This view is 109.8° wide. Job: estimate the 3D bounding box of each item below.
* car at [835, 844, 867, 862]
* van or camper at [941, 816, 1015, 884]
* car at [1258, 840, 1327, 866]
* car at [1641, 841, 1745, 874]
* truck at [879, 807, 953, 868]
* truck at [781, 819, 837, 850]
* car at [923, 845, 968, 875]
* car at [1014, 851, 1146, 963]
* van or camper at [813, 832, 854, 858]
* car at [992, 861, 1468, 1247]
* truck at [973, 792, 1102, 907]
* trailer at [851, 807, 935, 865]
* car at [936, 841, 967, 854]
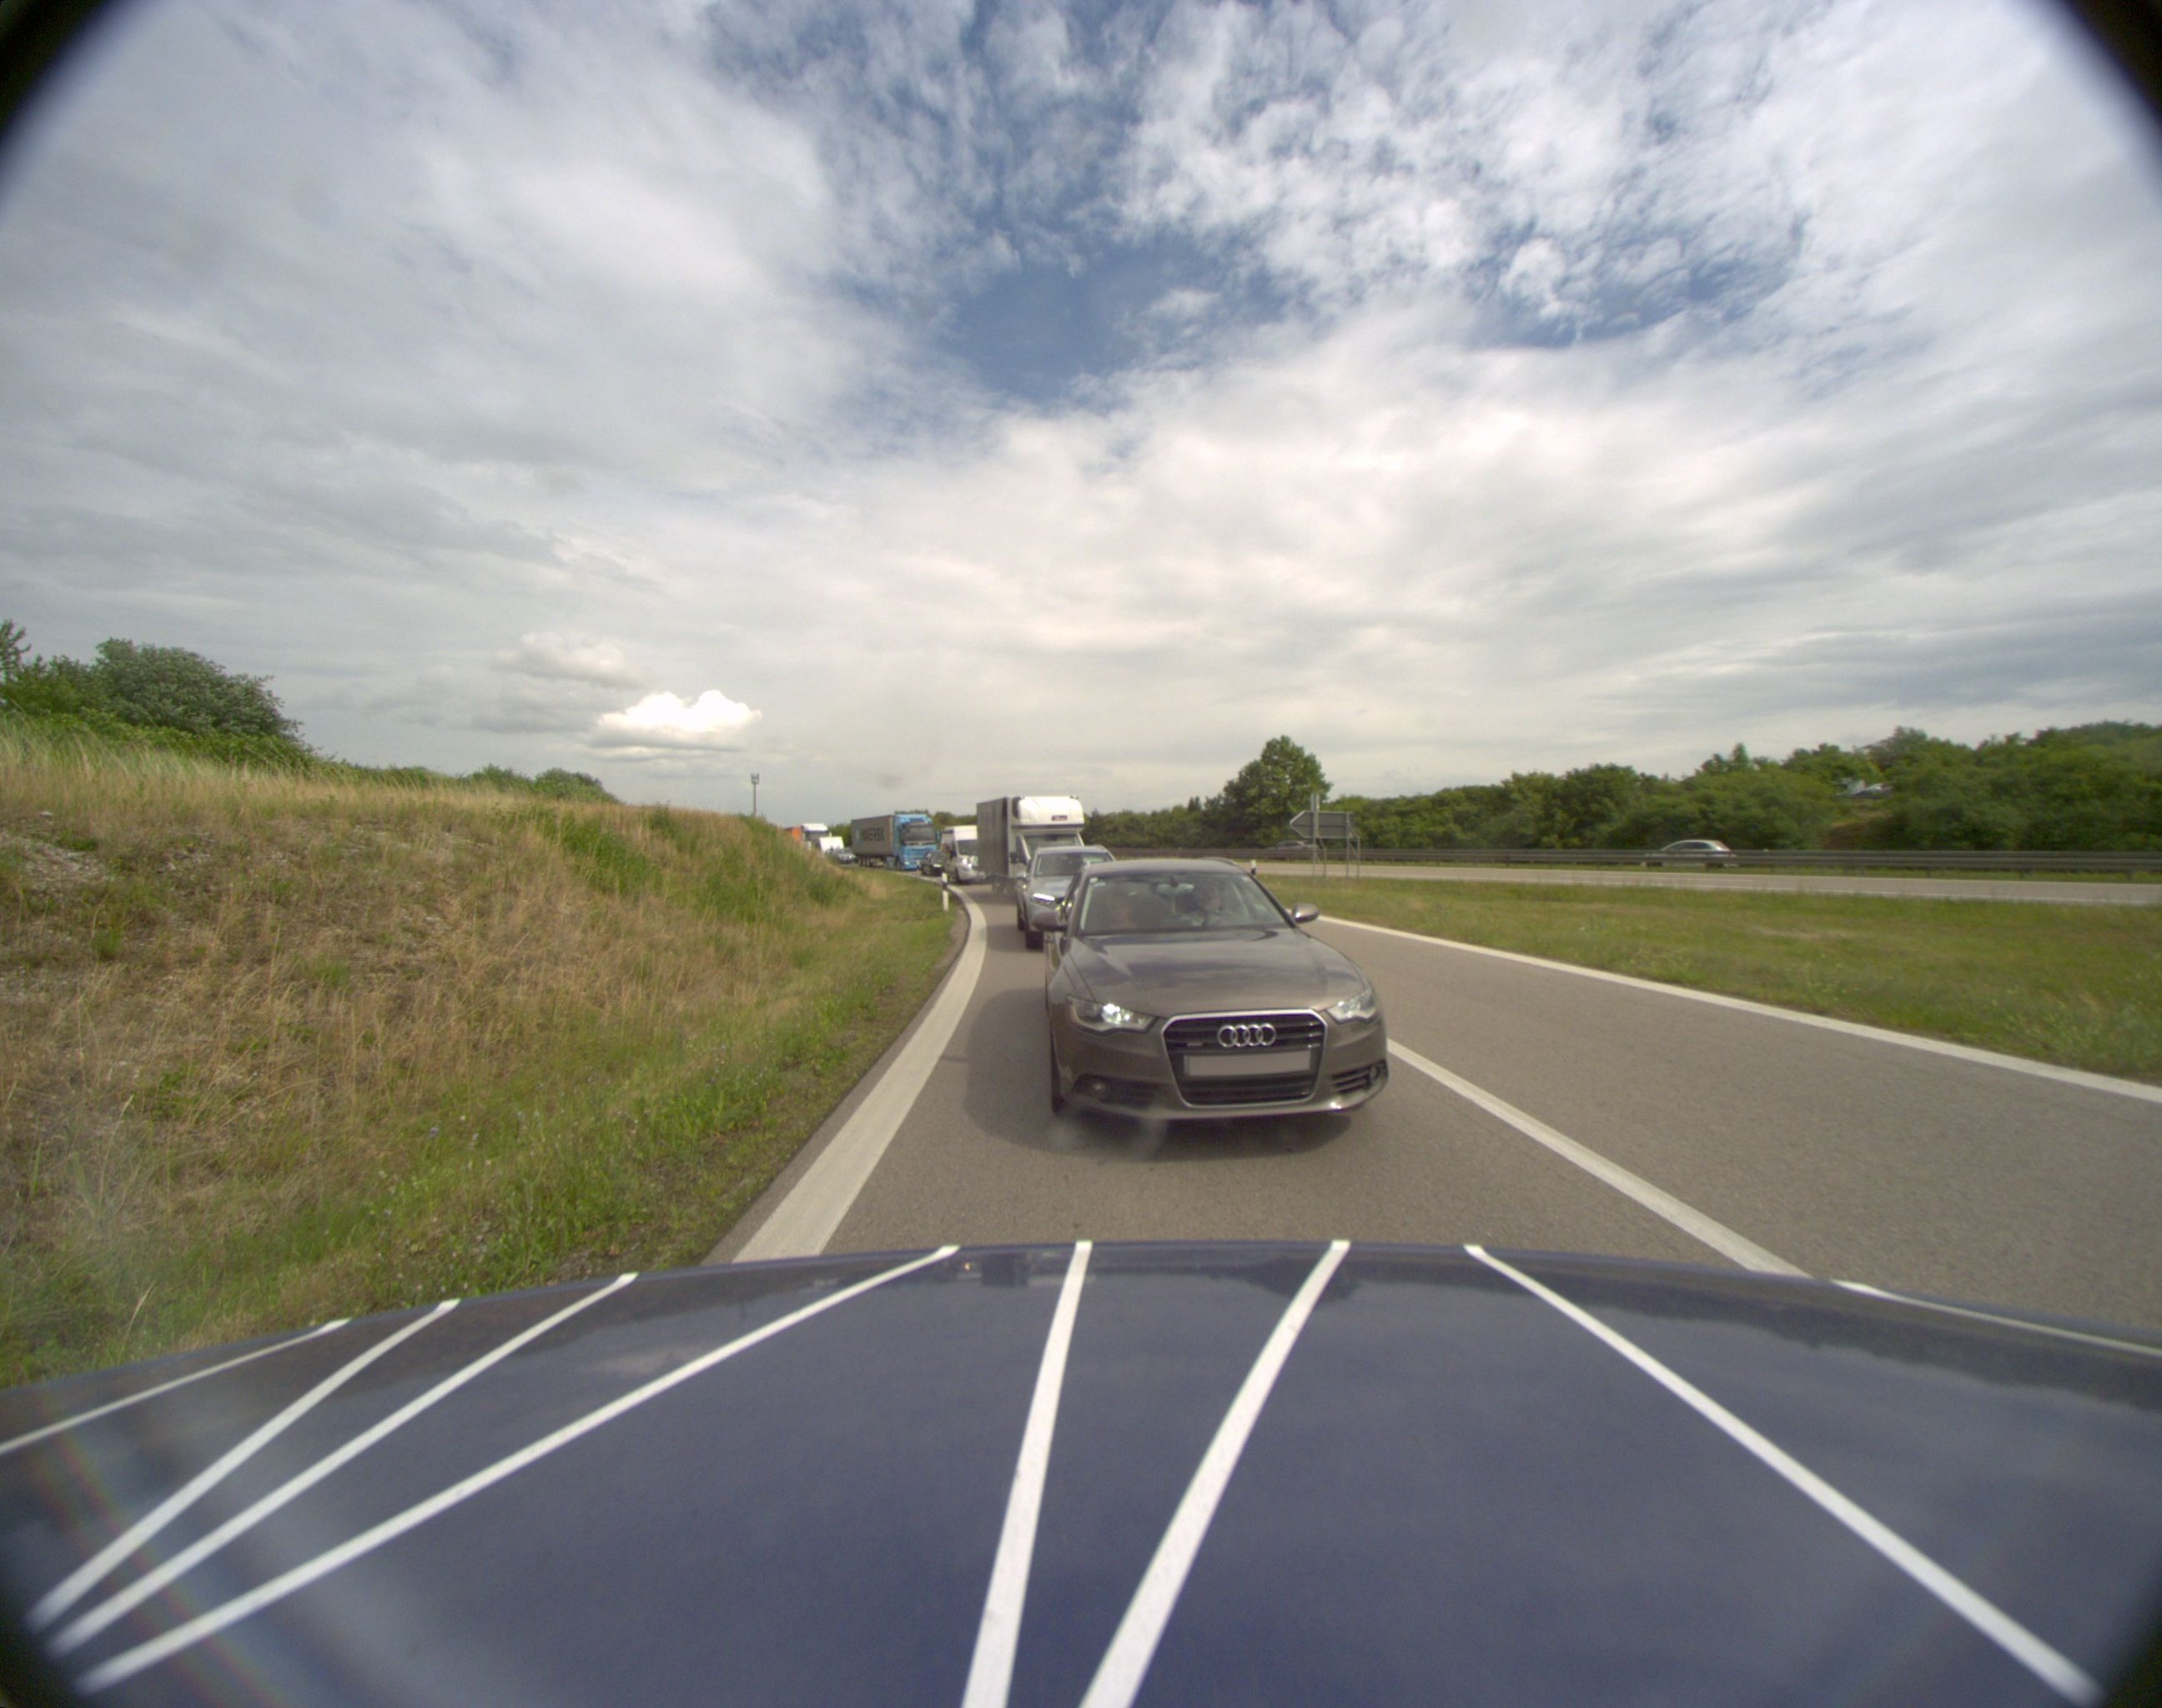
[{"bbox_3d":[-21.217,-0.131,70.027,2.003,1.521,3.990,-2,2,-29],"label":"car"},{"bbox_3d":[-4.961,-0.177,35.736,2.401,2.892,5.711,-3,1,-18],"label":"van or camper"},{"bbox_3d":[15.404,-0.101,55.606,1.719,1.783,4.966,-1,2,-33],"label":"car"},{"bbox_3d":[28.857,0.122,35.903,1.543,1.500,3.513,-2,2,-35],"label":"car"},{"bbox_3d":[-11.941,-1.149,54.537,3.184,4.049,6.631,-3,1,-29],"label":"truck"},{"bbox_3d":[-30.566,-2.068,84.935,3.131,3.220,11.131,-2,1,-34],"label":"truck"},{"bbox_3d":[-8.023,0.313,44.738,2.002,1.609,3.992,-1,1,-19],"label":"car"},{"bbox_3d":[-0.189,0.774,13.372,1.843,1.587,4.170,-1,1,-7],"label":"car"},{"bbox_3d":[-24.527,-0.954,75.082,2.557,2.200,5.693,-3,5,-31],"label":"van or camper"},{"bbox_3d":[0.623,0.877,5.511,1.999,1.505,4.537,-2,1,-1],"label":"car"},{"bbox_3d":[-1.682,-0.152,24.863,2.570,3.149,7.457,-2,1,-15],"label":"truck"},{"bbox_3d":[-15.214,-1.295,60.551,3.280,4.137,11.989,-3,1,-29],"label":"trailer"},{"bbox_3d":[-15.139,-0.802,88.778,2.003,1.415,4.446,-2,2,-33],"label":"car"}]
